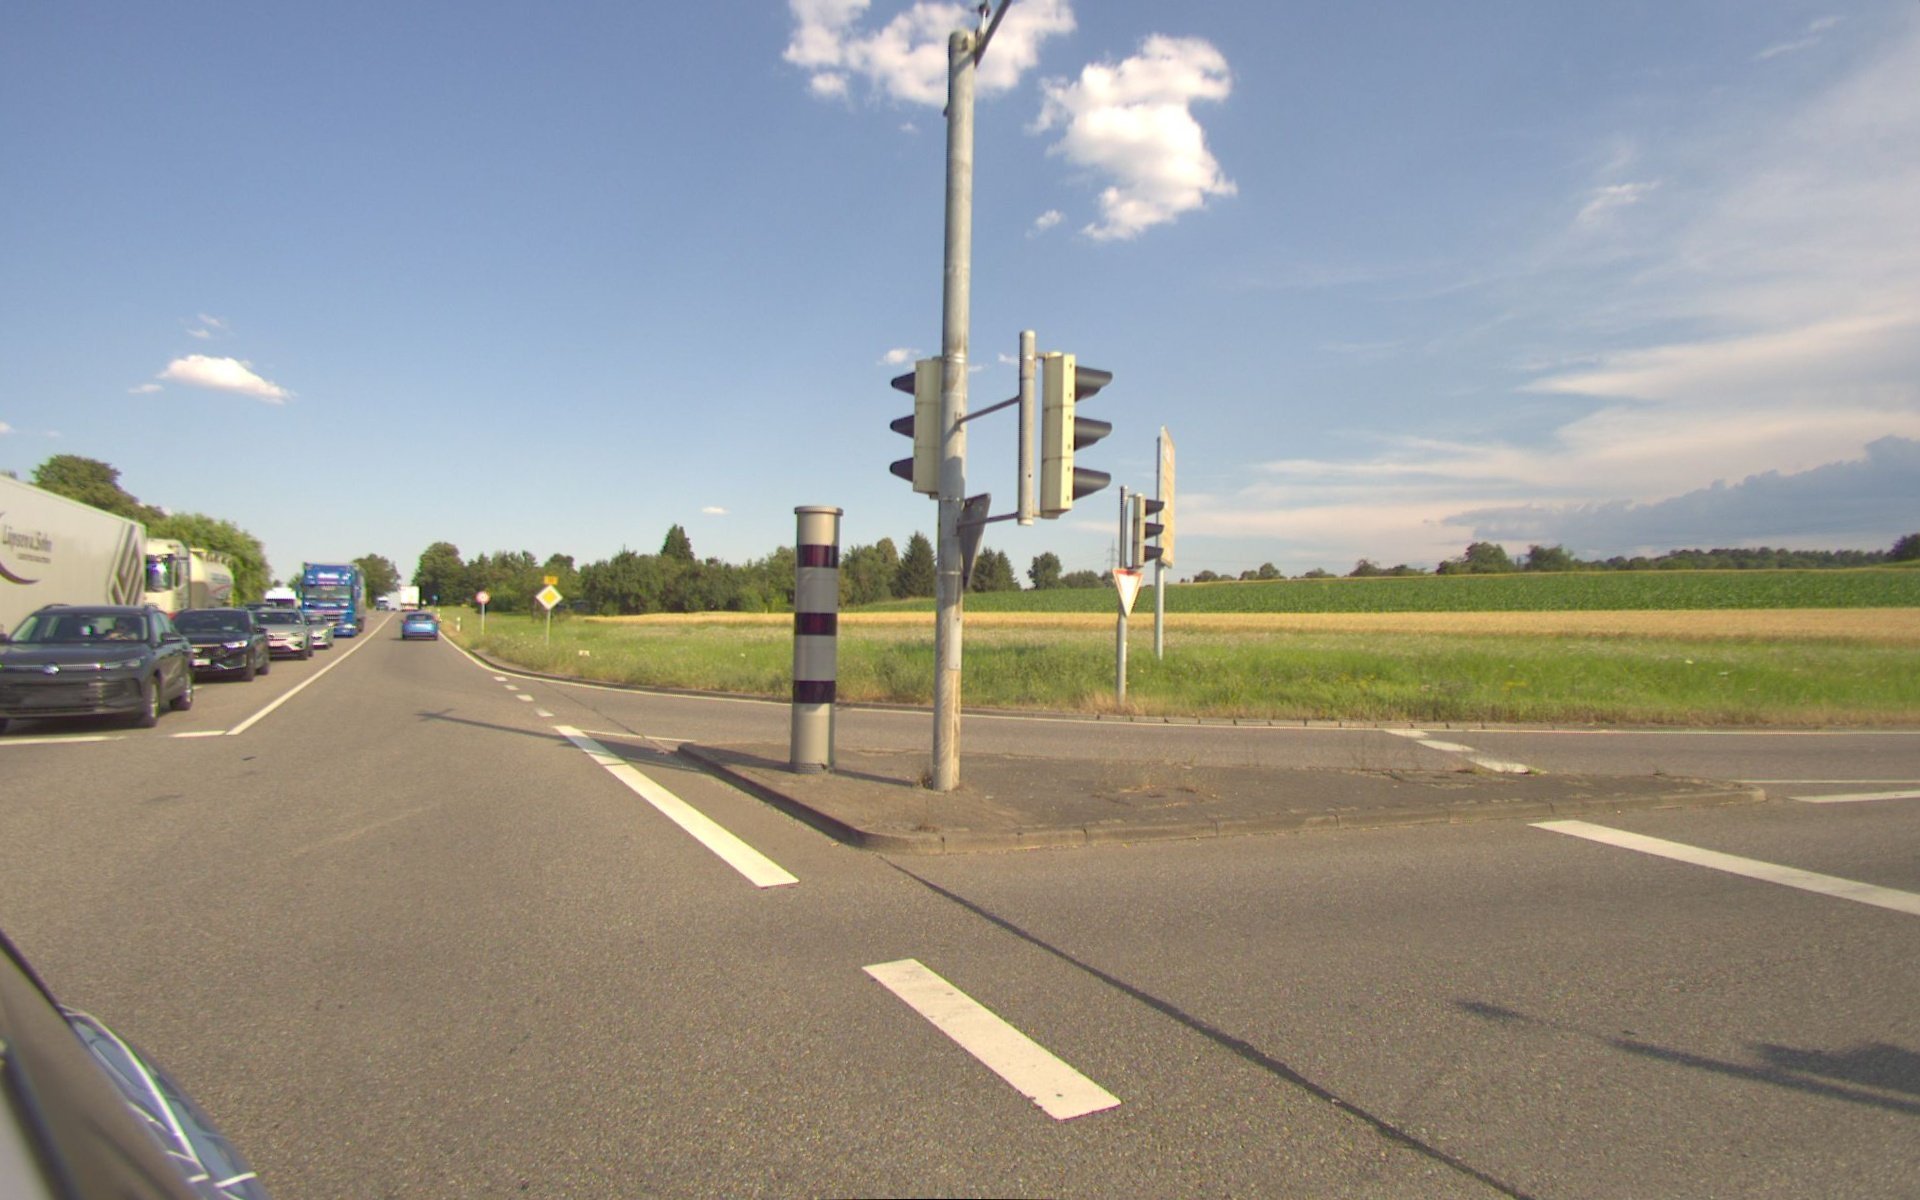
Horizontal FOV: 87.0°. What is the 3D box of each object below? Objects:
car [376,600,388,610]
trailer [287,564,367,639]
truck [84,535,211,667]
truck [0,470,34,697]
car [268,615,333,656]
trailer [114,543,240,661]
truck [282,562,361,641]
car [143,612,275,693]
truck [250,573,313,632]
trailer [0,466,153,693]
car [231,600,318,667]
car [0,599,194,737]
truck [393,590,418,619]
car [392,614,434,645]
[{"bbox_3d":[-118.103,1.058,206.819,1.965,2.029,4.013,0,0,-25],"label":"car"},{"bbox_3d":[-37.890,0.136,60.994,3.360,4.035,13.792,0,0,-29],"label":"trailer"},{"bbox_3d":[-25.815,0.037,32.387,2.224,3.834,5.704,0,0,-29],"label":"truck"},{"bbox_3d":[-17.605,-0.313,16.211,2.496,4.074,6.683,0,0,-28],"label":"truck"},{"bbox_3d":[-26.682,1.397,41.055,1.966,1.497,4.012,0,0,-29],"label":"car"},{"bbox_3d":[-28.522,0.094,37.261,2.227,3.806,9.554,-1,0,-29],"label":"trailer"},{"bbox_3d":[-34.675,0.088,55.161,3.318,4.035,5.619,0,0,-29],"label":"truck"},{"bbox_3d":[-17.111,1.108,23.262,1.745,1.625,4.562,0,0,-28],"label":"car"},{"bbox_3d":[-47.603,0.196,71.340,2.487,3.802,12.939,0,0,-28],"label":"truck"},{"bbox_3d":[-21.006,-0.287,22.368,2.496,4.098,14.380,0,-1,-29],"label":"trailer"},{"bbox_3d":[-21.817,1.007,32.358,1.875,1.962,4.386,-1,0,-28],"label":"car"},{"bbox_3d":[-12.124,0.820,14.109,1.758,1.641,4.482,0,0,-30],"label":"car"},{"bbox_3d":[-89.643,0.723,163.566,3.392,4.531,9.517,0,0,-29],"label":"truck"},{"bbox_3d":[-28.171,1.529,52.060,1.734,1.512,4.012,1,-2,-31],"label":"car"}]
